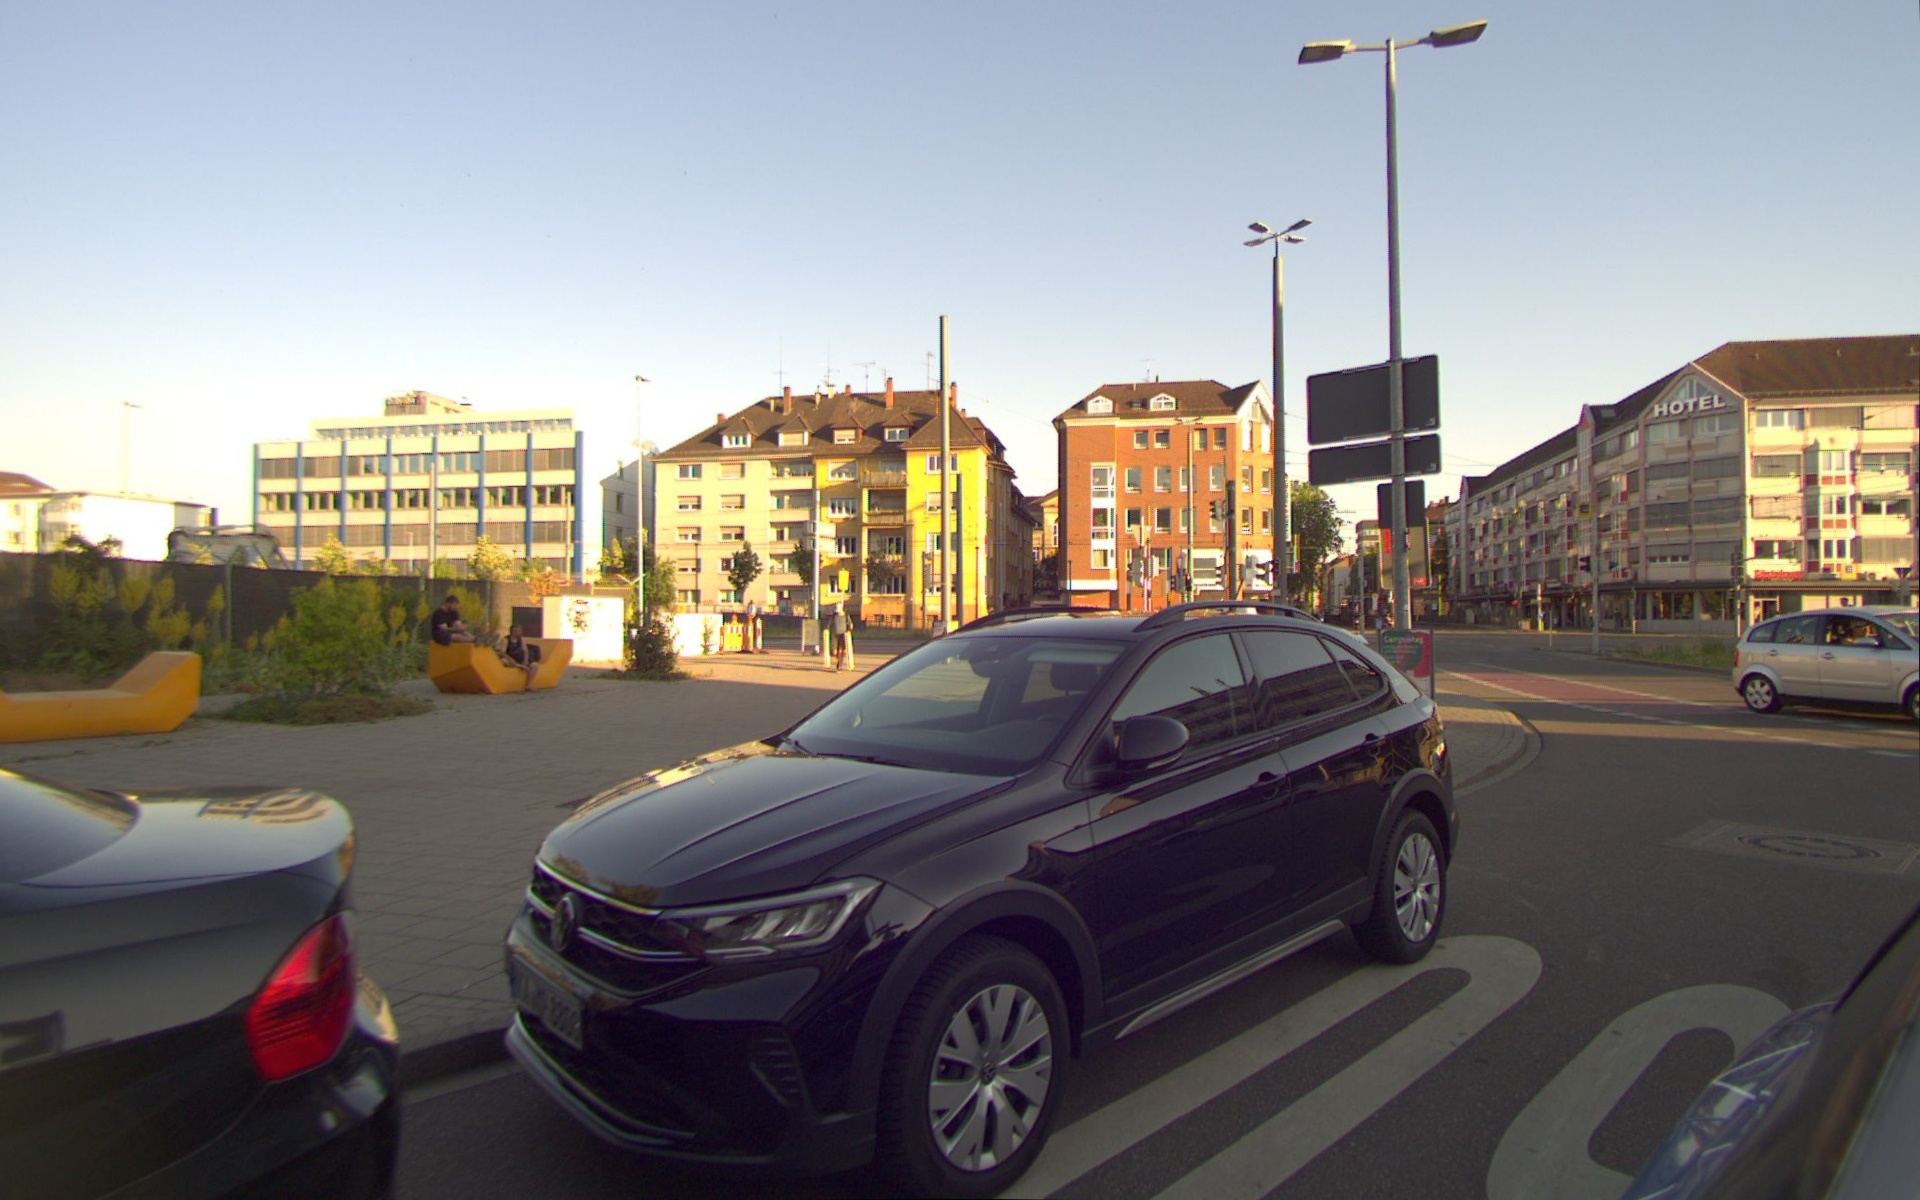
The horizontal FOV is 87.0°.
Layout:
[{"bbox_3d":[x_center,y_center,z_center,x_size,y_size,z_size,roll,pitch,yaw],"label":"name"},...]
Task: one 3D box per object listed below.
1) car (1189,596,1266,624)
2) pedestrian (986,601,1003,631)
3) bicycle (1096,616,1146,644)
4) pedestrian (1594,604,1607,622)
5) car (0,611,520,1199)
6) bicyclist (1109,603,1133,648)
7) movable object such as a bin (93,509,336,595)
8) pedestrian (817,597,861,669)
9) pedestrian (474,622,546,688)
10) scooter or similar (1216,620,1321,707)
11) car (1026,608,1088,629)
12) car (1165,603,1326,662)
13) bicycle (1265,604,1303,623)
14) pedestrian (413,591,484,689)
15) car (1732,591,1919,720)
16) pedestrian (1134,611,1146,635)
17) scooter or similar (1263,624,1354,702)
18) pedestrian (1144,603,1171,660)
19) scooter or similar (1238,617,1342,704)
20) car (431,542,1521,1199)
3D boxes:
[{"bbox_3d":[18.466,0.725,70.093,1.966,1.861,4.865,1,-2,-42],"label":"car"},{"bbox_3d":[1.815,0.834,53.485,0.631,1.561,0.700,0,-1,29],"label":"pedestrian"},{"bbox_3d":[6.184,1.154,38.873,1.826,1.036,0.592,0,-1,23],"label":"bicycle"},{"bbox_3d":[55.696,1.146,87.987,0.696,1.568,0.903,0,-1,11],"label":"pedestrian"},{"bbox_3d":[-2.954,0.746,0.914,4.395,1.448,1.731,0,-1,-41],"label":"car"},{"bbox_3d":[6.187,0.975,38.862,0.739,1.692,0.592,-2,0,22],"label":"bicyclist"},{"bbox_3d":[-19.787,-1.172,27.047,1.992,2.039,4.948,0,-1,42],"label":"movable object such as a bin"},{"bbox_3d":[-3.054,0.816,25.508,0.805,1.758,0.945,1,-1,-30],"label":"pedestrian"},{"bbox_3d":[-8.305,1.002,18.691,0.977,1.172,0.731,-1,-1,17],"label":"pedestrian"},{"bbox_3d":[4.772,0.955,15.739,0.600,1.276,1.527,0,-1,-33],"label":"scooter or similar"},{"bbox_3d":[7.118,1.358,74.179,4.486,1.467,1.813,0,0,8],"label":"car"},{"bbox_3d":[8.478,0.899,30.407,1.909,1.638,4.387,0,0,-39],"label":"car"},{"bbox_3d":[29.852,1.203,93.304,3.259,1.748,1.064,0,-1,14],"label":"bicycle"},{"bbox_3d":[-8.989,0.683,17.789,0.811,1.686,0.760,0,-1,18],"label":"pedestrian"},{"bbox_3d":[12.644,0.686,13.463,1.648,1.581,3.729,-2,-1,-4],"label":"car"},{"bbox_3d":[13.677,1.713,76.842,0.858,1.801,0.915,-1,0,8],"label":"pedestrian"},{"bbox_3d":[5.617,0.989,16.373,0.452,1.181,1.405,1,-1,-33],"label":"scooter or similar"},{"bbox_3d":[5.733,0.909,29.407,0.681,1.634,0.592,0,-1,20],"label":"pedestrian"},{"bbox_3d":[5.215,0.924,16.079,0.452,1.309,1.653,0,-1,-32],"label":"scooter or similar"},{"bbox_3d":[0.467,0.689,3.978,4.217,1.563,1.780,0,-1,-42],"label":"car"}]
